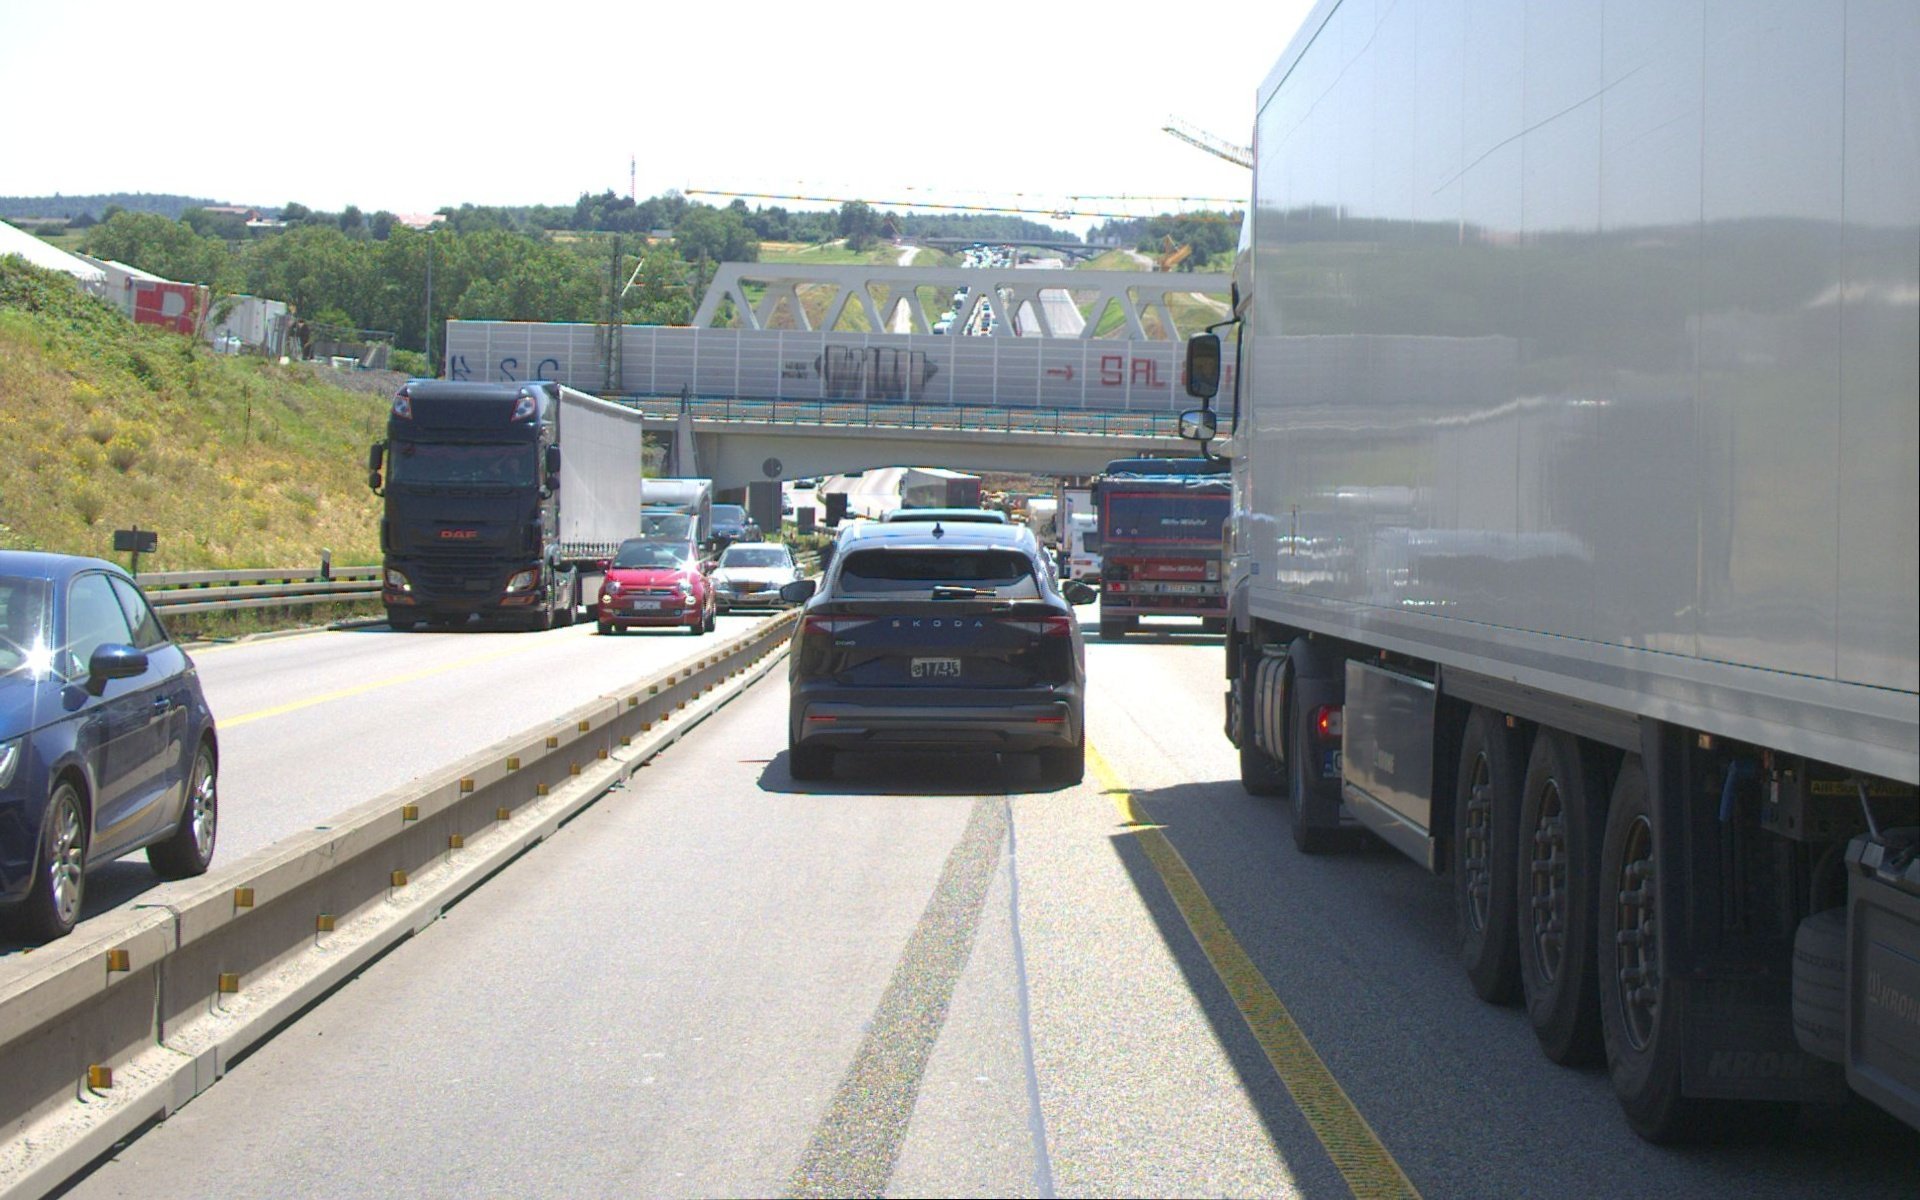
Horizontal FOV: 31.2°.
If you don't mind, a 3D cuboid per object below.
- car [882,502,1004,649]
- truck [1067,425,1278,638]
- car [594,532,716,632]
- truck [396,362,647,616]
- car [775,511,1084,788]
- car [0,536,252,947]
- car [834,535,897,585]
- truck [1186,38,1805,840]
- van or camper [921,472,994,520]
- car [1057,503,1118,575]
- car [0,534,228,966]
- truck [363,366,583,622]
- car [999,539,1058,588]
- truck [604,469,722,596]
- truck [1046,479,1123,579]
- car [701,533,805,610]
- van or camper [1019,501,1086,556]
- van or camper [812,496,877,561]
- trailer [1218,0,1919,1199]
[{"bbox_3d":[-0.200,-0.336,43.871,1.475,1.789,3.298,1,1,0],"label":"car"},{"bbox_3d":[3.361,-1.152,57.668,2.814,3.124,12.838,1,1,1],"label":"truck"},{"bbox_3d":[-4.692,-0.299,53.220,1.590,1.481,3.295,1,1,0],"label":"car"},{"bbox_3d":[-7.773,-1.946,62.907,2.767,4.073,13.807,1,1,0],"label":"truck"},{"bbox_3d":[-0.182,0.250,21.877,1.800,1.615,3.298,1,1,0],"label":"car"},{"bbox_3d":[-3.994,0.451,13.637,1.689,1.398,3.687,1,1,-1],"label":"car"},{"bbox_3d":[-2.747,-1.173,100.471,1.666,1.423,4.000,0,1,1],"label":"car"},{"bbox_3d":[2.890,-0.865,19.986,2.776,4.044,4.905,1,1,0],"label":"truck"},{"bbox_3d":[-0.223,-7.792,256.760,3.942,3.408,8.409,1,2,-10],"label":"van or camper"},{"bbox_3d":[4.152,-2.005,112.454,1.661,2.262,3.797,2,1,-1],"label":"car"},{"bbox_3d":[-4.076,0.461,13.418,1.684,1.425,3.850,1,1,-1],"label":"car"},{"bbox_3d":[-7.757,-1.672,55.298,2.767,3.871,4.964,1,1,0],"label":"truck"},{"bbox_3d":[1.956,-1.061,98.428,1.491,1.326,3.244,2,1,-1],"label":"car"},{"bbox_3d":[-7.037,-1.607,82.052,2.268,2.872,5.851,1,1,0],"label":"truck"},{"bbox_3d":[5.493,-3.154,153.256,3.176,4.303,9.257,1,1,1],"label":"truck"},{"bbox_3d":[-4.144,-0.608,69.313,1.826,1.481,4.196,1,1,0],"label":"car"},{"bbox_3d":[5.936,-4.663,222.287,3.943,3.408,8.407,1,2,-1],"label":"van or camper"},{"bbox_3d":[-4.517,-2.802,135.249,2.216,2.472,4.750,1,1,2],"label":"van or camper"},{"bbox_3d":[2.874,-0.700,12.376,2.801,4.044,14.117,1,1,0],"label":"trailer"}]
